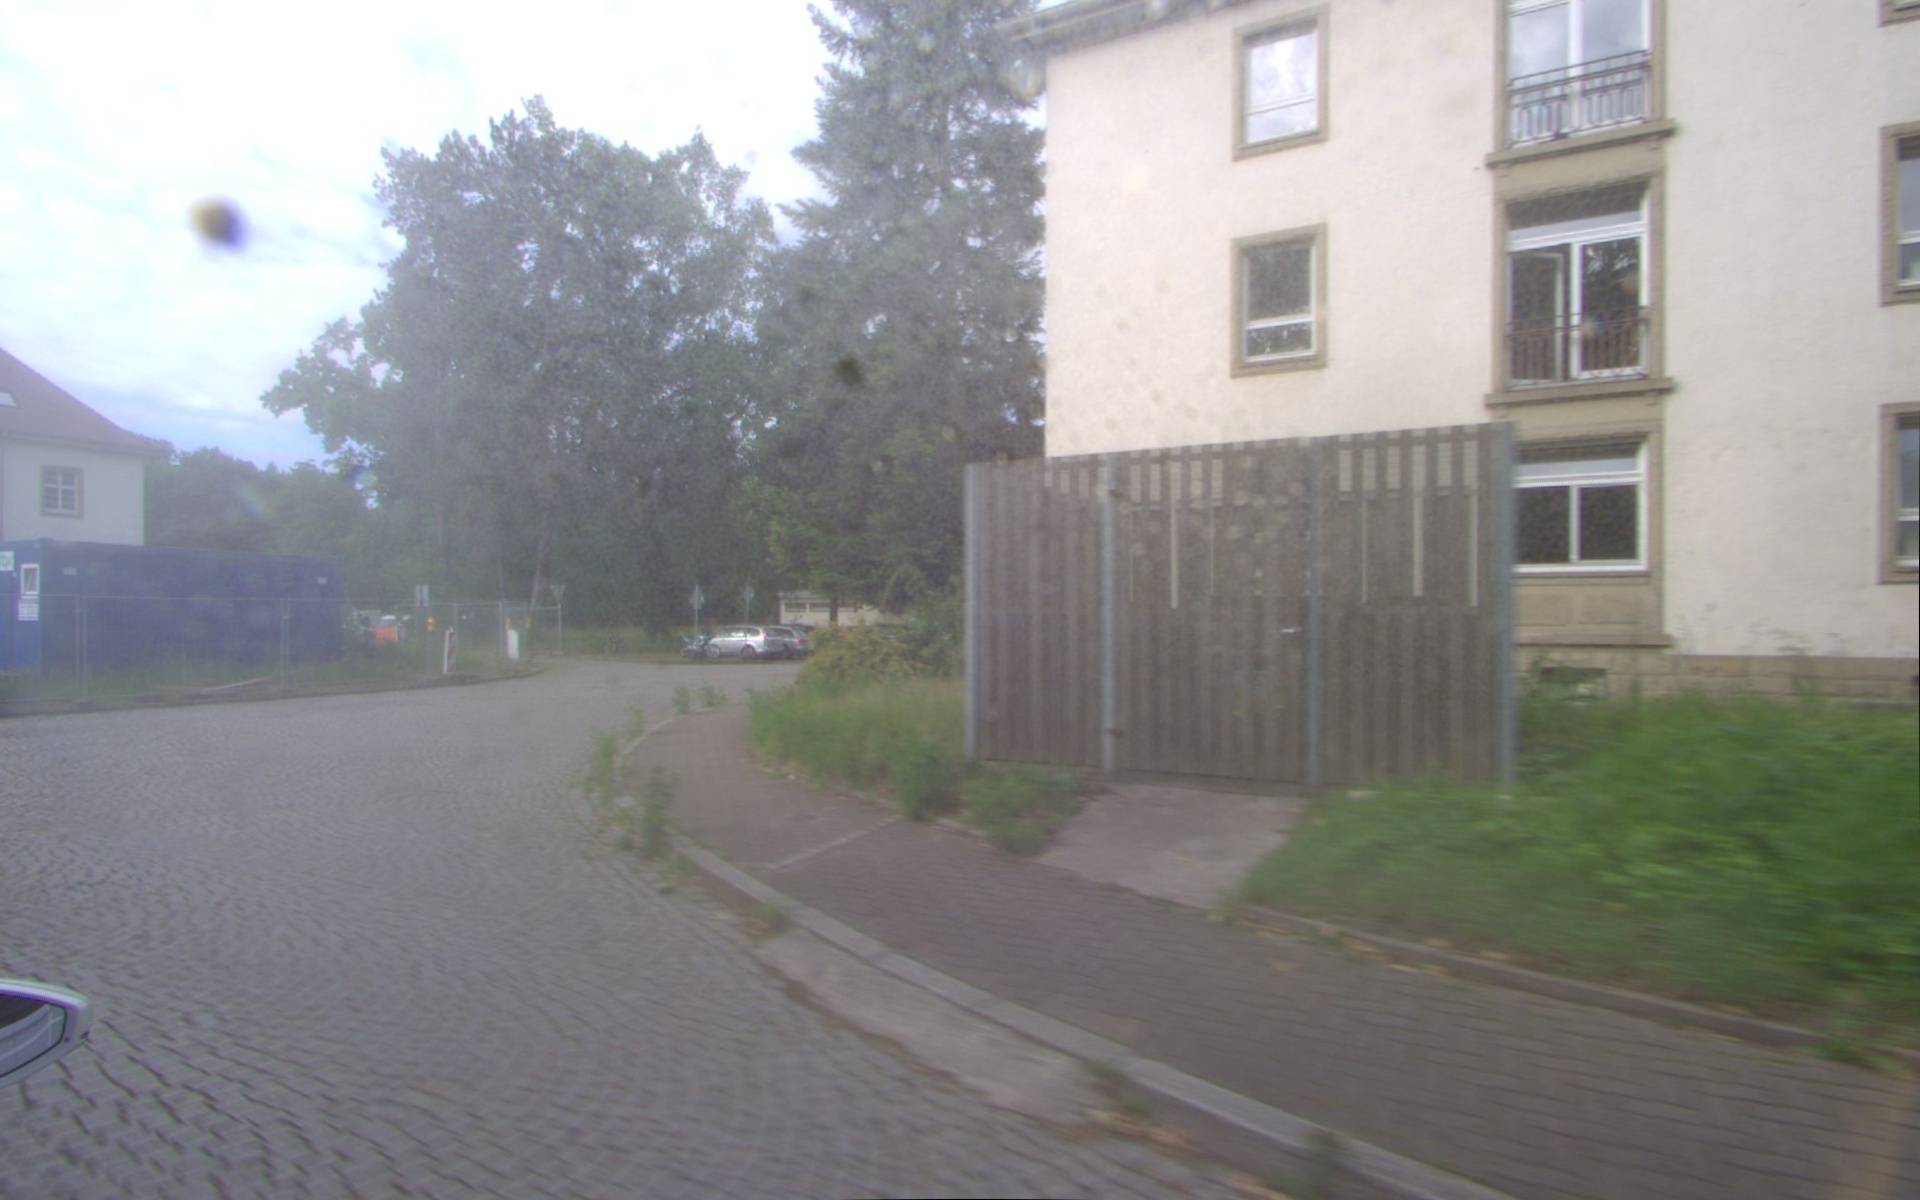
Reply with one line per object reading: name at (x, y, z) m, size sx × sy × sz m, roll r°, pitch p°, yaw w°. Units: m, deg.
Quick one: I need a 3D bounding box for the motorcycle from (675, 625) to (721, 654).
motorcycle at (-11.043, 1.648, 42.194) m, size 1.931 × 1.180 × 0.517 m, roll 0°, pitch -1°, yaw 22°

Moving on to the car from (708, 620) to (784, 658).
car at (-9.421, 1.704, 44.054) m, size 2.971 × 1.507 × 1.321 m, roll 2°, pitch 0°, yaw 19°

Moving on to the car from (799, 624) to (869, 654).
car at (-6.452, 1.975, 51.333) m, size 3.312 × 1.379 × 1.443 m, roll 2°, pitch 0°, yaw 26°

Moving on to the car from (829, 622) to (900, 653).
car at (-5.037, 1.975, 52.893) m, size 3.307 × 1.462 × 1.563 m, roll 2°, pitch 0°, yaw 20°

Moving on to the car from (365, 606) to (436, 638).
car at (-28.623, 1.119, 51.317) m, size 1.590 × 1.506 × 3.987 m, roll 1°, pitch -1°, yaw -4°

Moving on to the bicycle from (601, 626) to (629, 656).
bicycle at (-13.992, 1.634, 40.561) m, size 0.509 × 1.182 × 1.790 m, roll 0°, pitch -1°, yaw -39°

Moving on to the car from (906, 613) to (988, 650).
car at (-0.828, 1.946, 62.571) m, size 4.878 × 2.016 × 1.692 m, roll 2°, pitch 0°, yaw 27°

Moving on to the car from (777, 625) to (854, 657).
car at (-6.992, 1.963, 48.538) m, size 3.306 × 1.338 × 1.639 m, roll 2°, pitch 0°, yaw 19°

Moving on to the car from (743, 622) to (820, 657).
car at (-8.191, 1.789, 46.018) m, size 3.164 × 1.466 × 1.387 m, roll 2°, pitch 0°, yaw 19°

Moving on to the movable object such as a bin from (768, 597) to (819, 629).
movable object such as a bin at (-17.454, 1.410, 105.117) m, size 5.215 × 3.315 × 2.000 m, roll 0°, pitch -1°, yaw -5°

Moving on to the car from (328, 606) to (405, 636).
car at (-31.516, 1.090, 53.317) m, size 1.730 × 1.522 × 4.446 m, roll 0°, pitch -1°, yaw -4°
